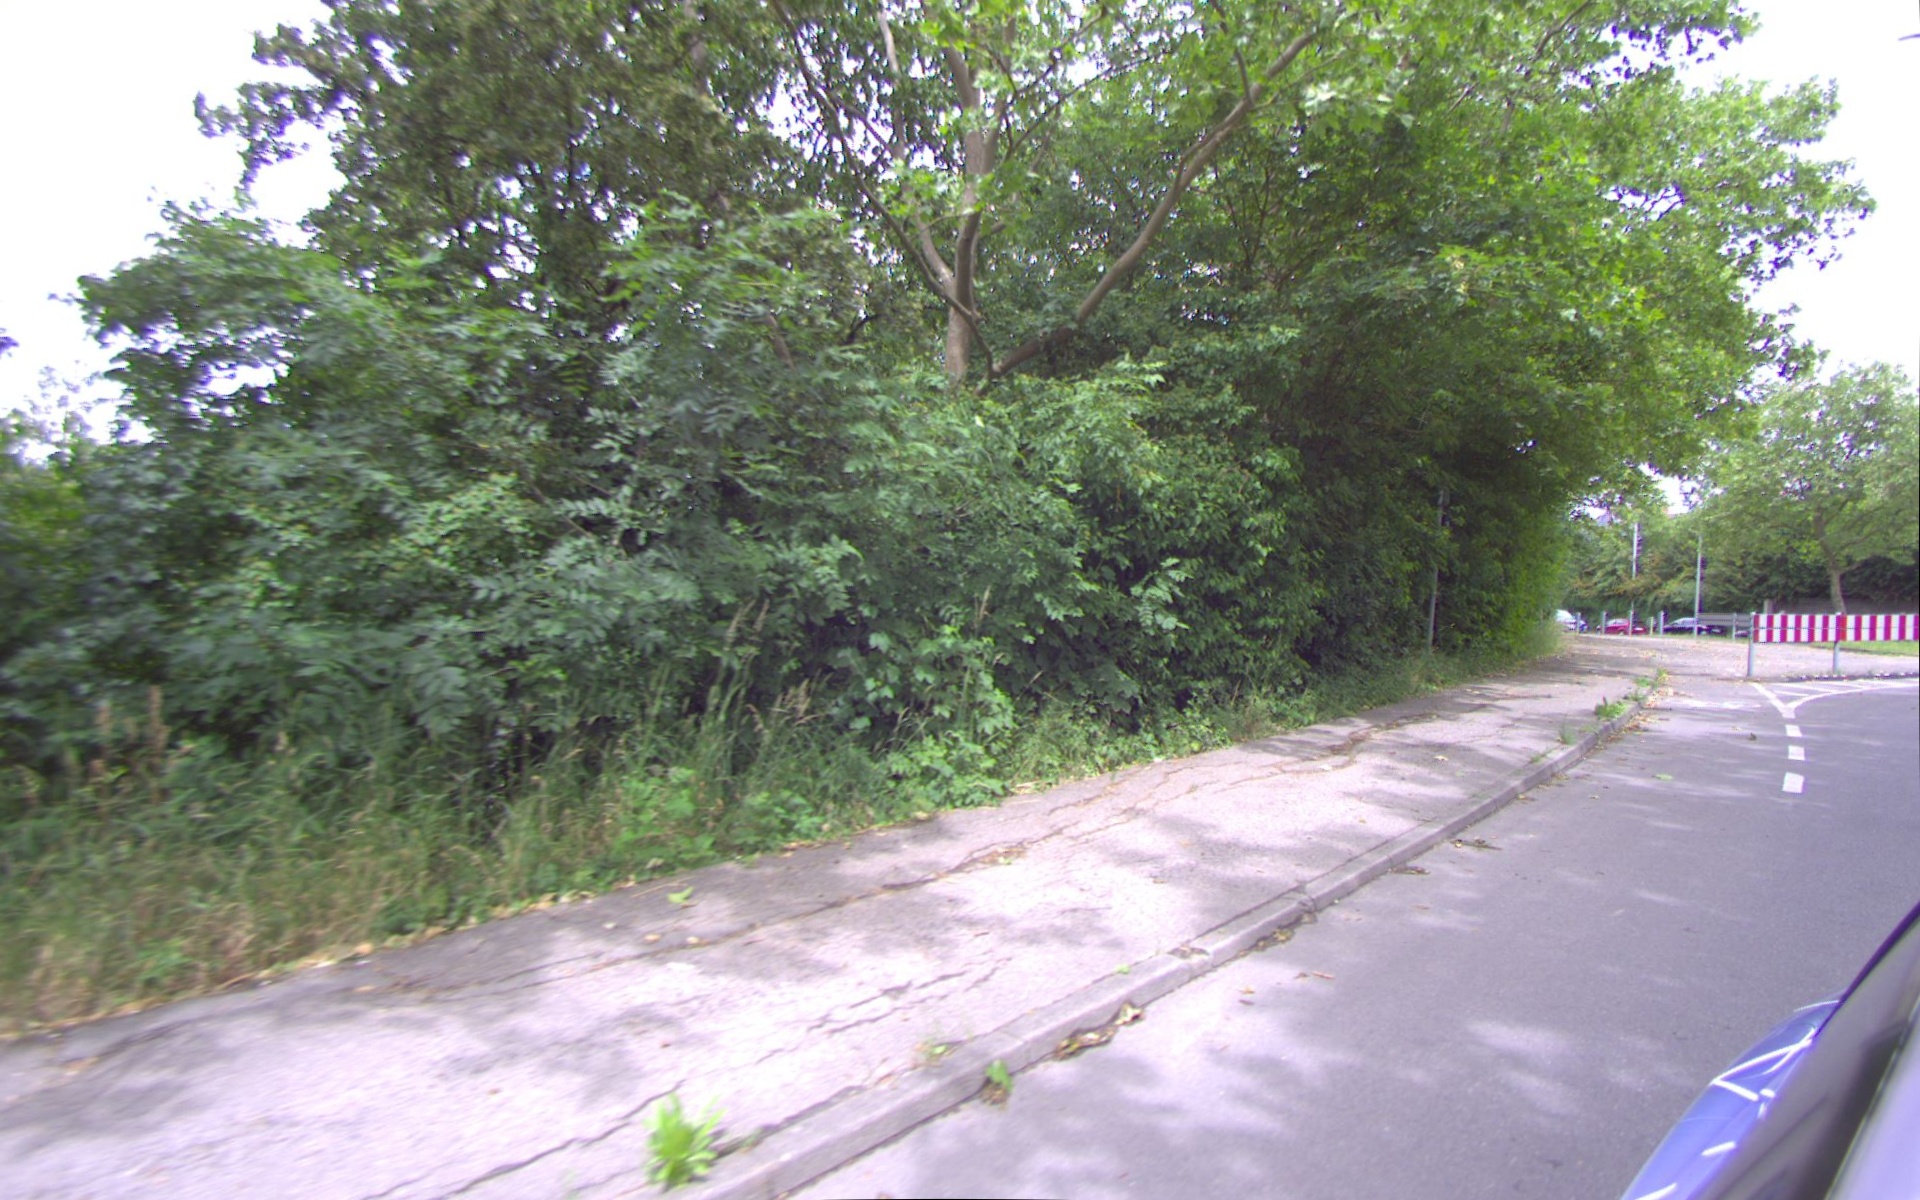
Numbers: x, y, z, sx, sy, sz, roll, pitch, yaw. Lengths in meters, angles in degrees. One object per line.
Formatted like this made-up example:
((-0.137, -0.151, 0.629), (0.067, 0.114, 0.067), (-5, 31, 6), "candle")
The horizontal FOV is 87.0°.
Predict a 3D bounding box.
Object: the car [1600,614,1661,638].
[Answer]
((48.551, 1.870, 73.362), (1.655, 1.523, 3.832), (5, 0, -1), "car")

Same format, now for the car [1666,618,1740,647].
((48.402, 2.079, 66.001), (1.763, 1.624, 4.038), (3, 0, 0), "car")

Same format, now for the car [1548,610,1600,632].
((48.478, 1.625, 79.979), (1.655, 1.523, 3.832), (5, 0, -1), "car")

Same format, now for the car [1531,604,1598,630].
((39.562, 1.080, 66.343), (1.764, 1.446, 4.147), (5, 0, 0), "car")
